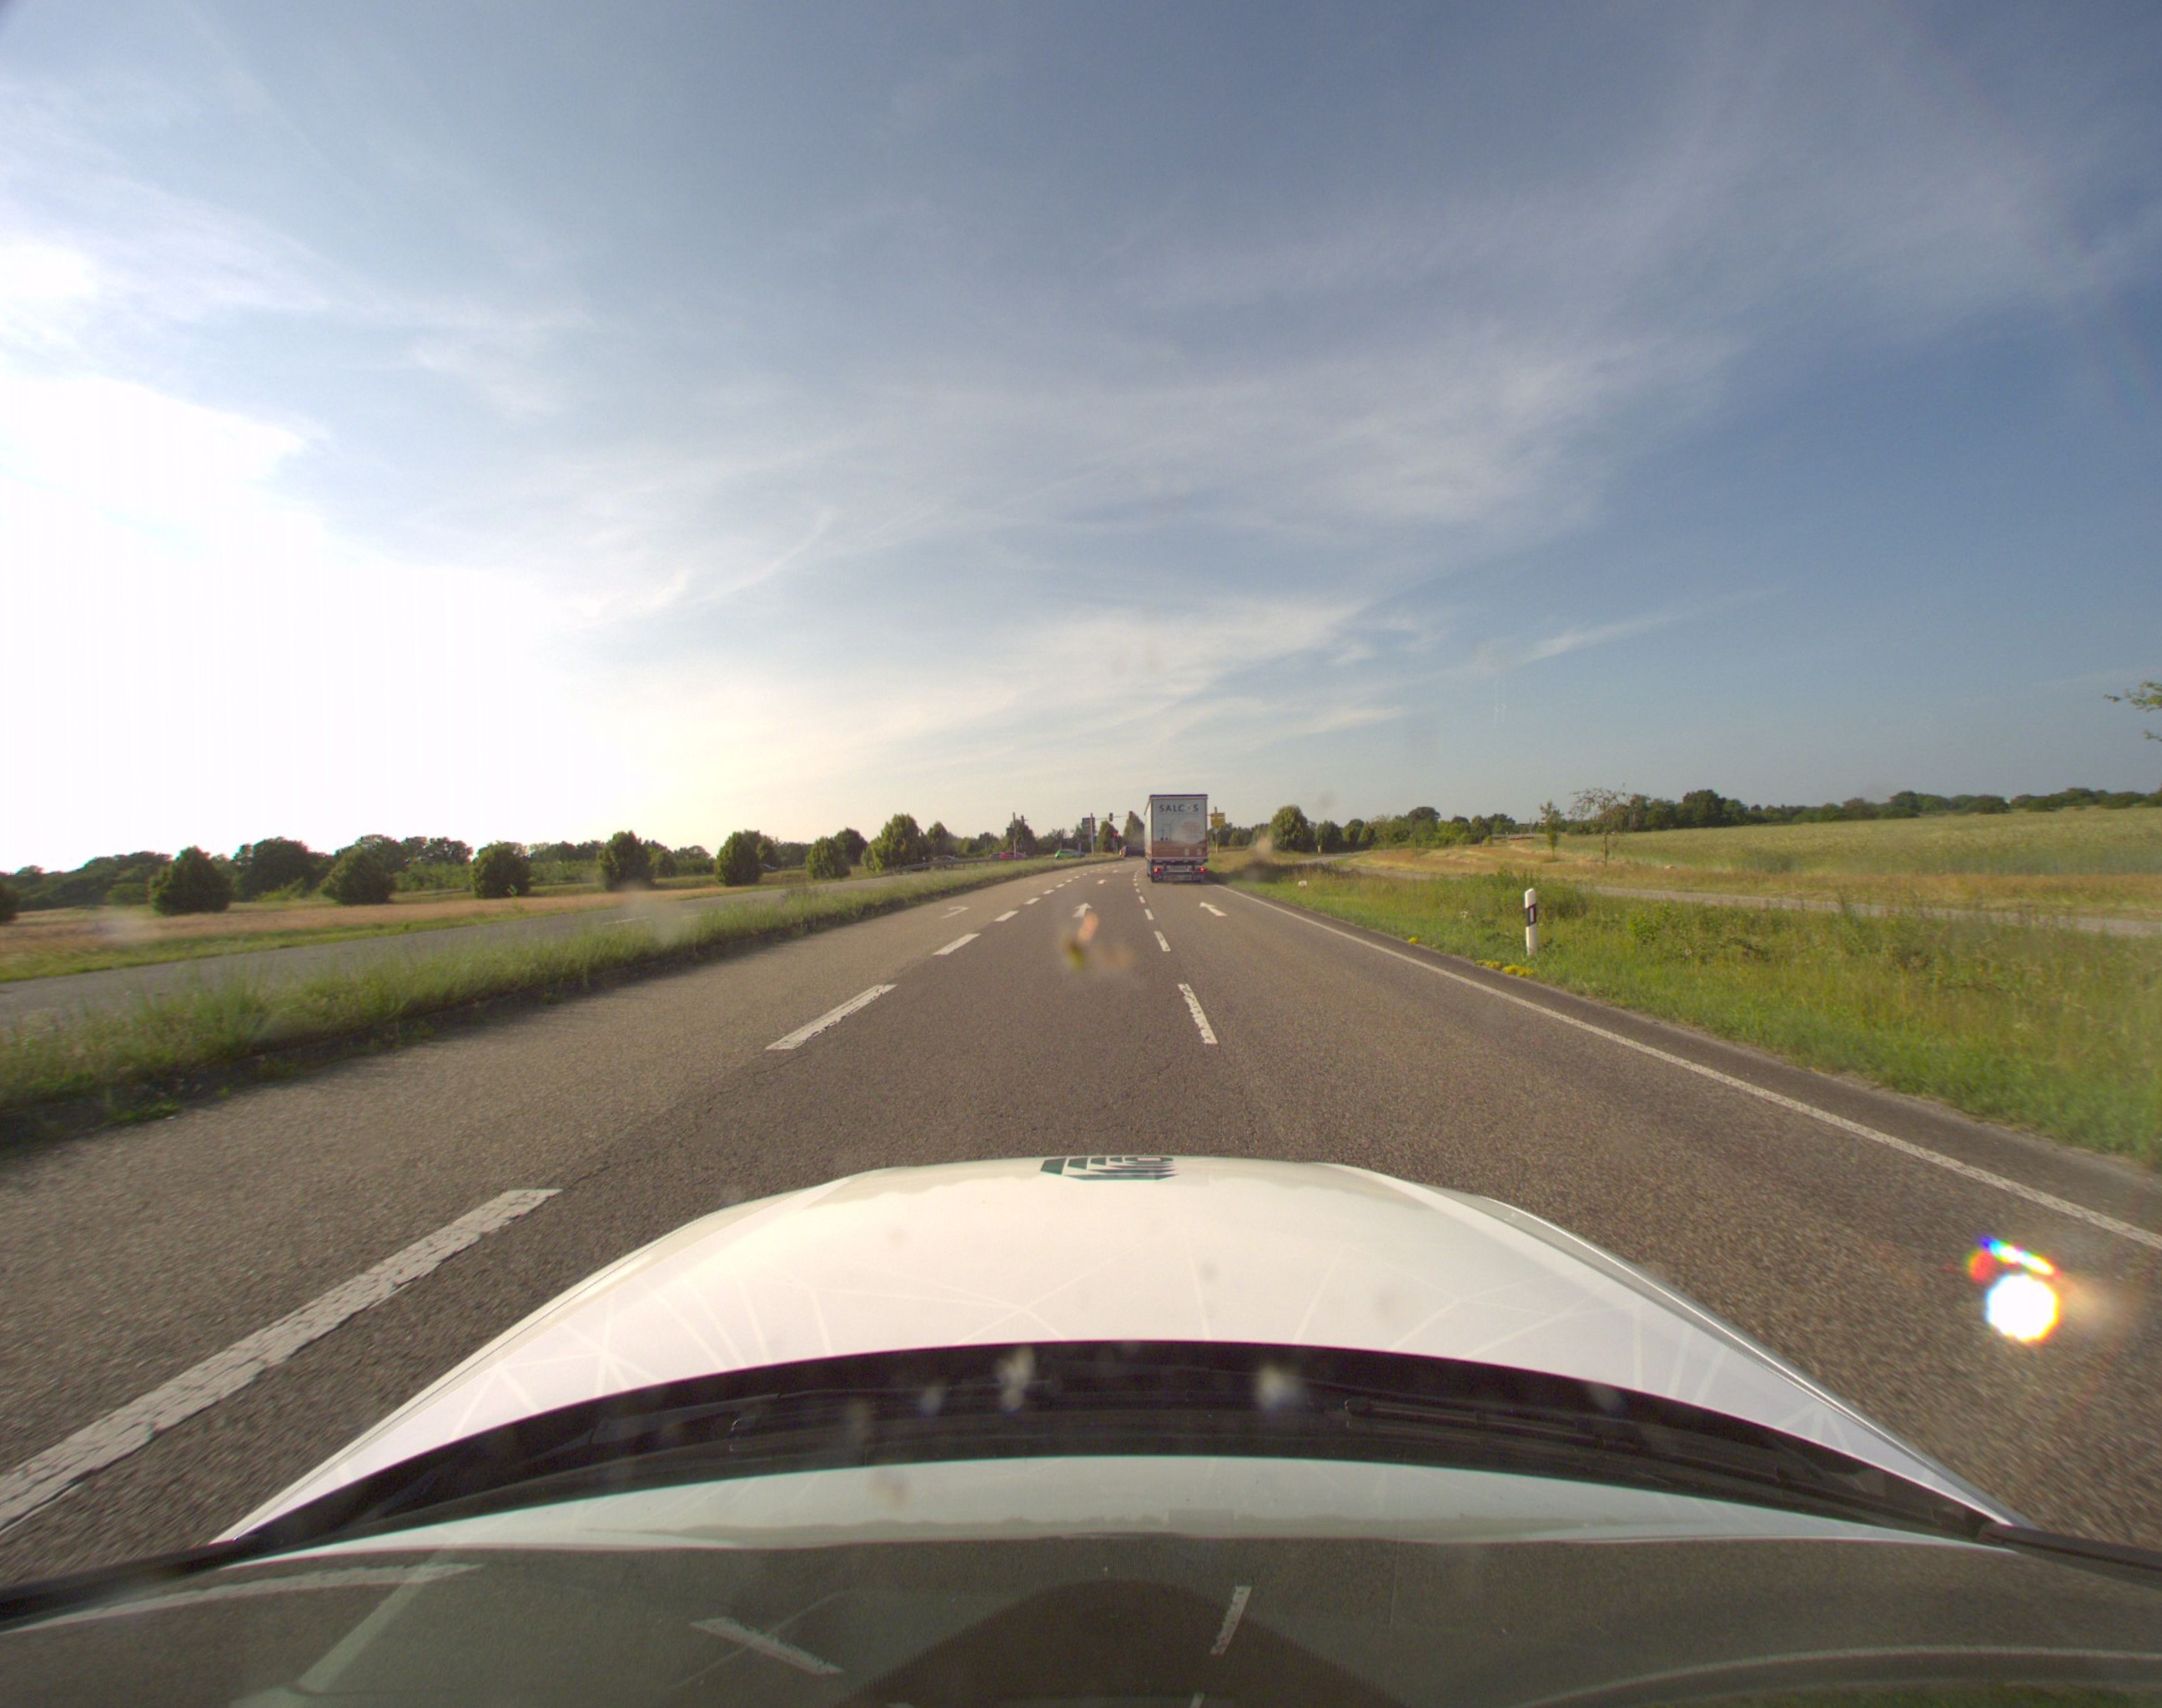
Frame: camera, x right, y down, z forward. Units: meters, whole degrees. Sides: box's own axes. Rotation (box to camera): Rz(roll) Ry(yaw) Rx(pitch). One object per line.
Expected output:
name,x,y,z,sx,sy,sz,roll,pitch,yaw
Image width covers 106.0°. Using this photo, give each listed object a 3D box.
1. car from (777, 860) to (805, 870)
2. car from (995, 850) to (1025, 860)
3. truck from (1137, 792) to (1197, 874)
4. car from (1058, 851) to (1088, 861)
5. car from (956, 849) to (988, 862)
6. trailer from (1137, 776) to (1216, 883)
car,-49.731,1.960,139.686,3.974,1.667,1.999,-1,-1,-1
car,-10.937,0.176,124.975,4.239,1.565,1.906,-1,-1,9
truck,5.130,-1.216,49.628,3.286,4.657,5.737,-1,0,3
car,-1.206,0.277,122.549,4.407,1.417,1.920,-1,-1,0
car,-16.774,0.277,125.773,4.427,2.014,2.007,-1,-1,13
trailer,4.693,-1.157,42.613,3.267,4.680,13.160,-1,1,3
